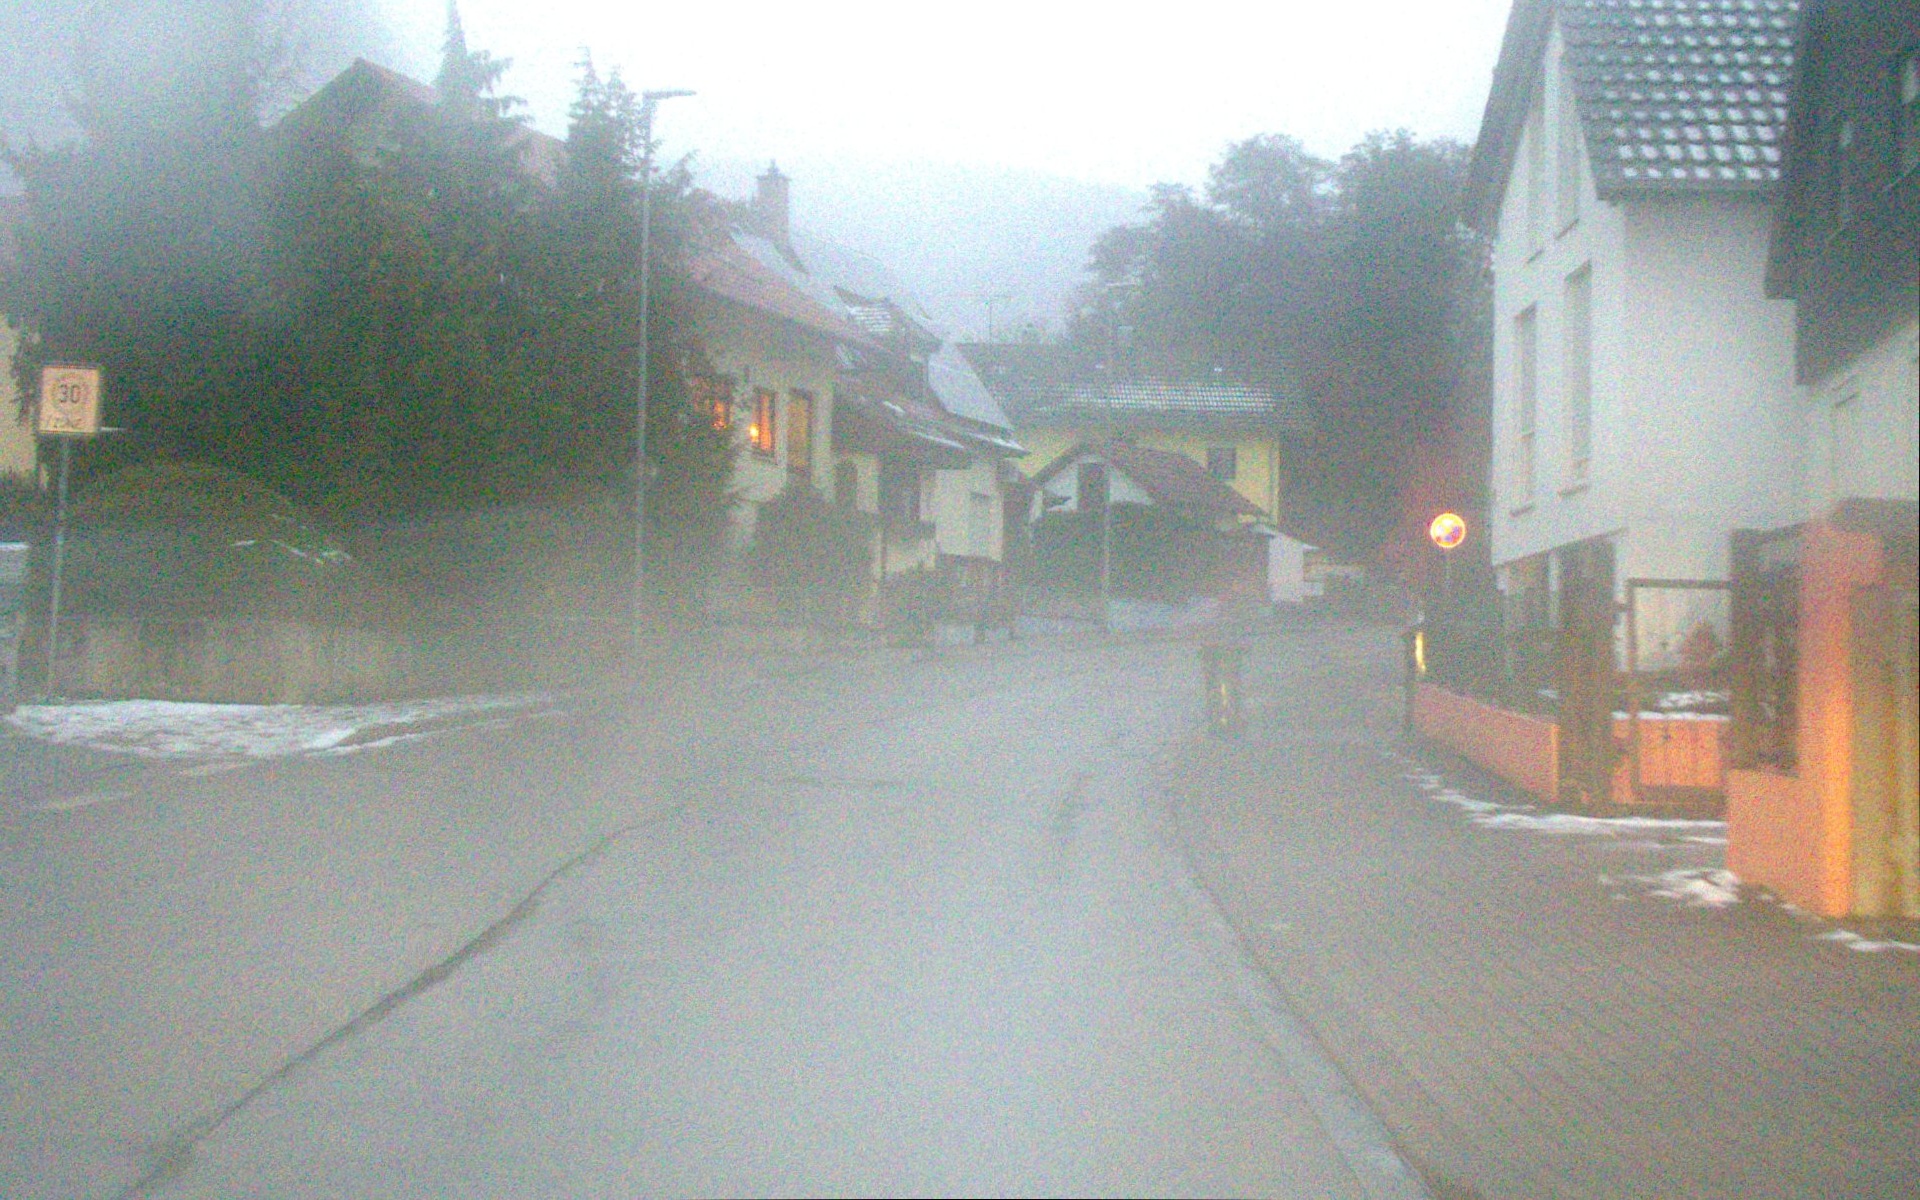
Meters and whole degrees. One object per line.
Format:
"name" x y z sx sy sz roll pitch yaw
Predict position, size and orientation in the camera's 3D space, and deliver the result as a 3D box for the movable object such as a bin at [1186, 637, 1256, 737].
"movable object such as a bin" 2.548 0.844 33.555 0.614 0.943 0.594 -3 -2 7
